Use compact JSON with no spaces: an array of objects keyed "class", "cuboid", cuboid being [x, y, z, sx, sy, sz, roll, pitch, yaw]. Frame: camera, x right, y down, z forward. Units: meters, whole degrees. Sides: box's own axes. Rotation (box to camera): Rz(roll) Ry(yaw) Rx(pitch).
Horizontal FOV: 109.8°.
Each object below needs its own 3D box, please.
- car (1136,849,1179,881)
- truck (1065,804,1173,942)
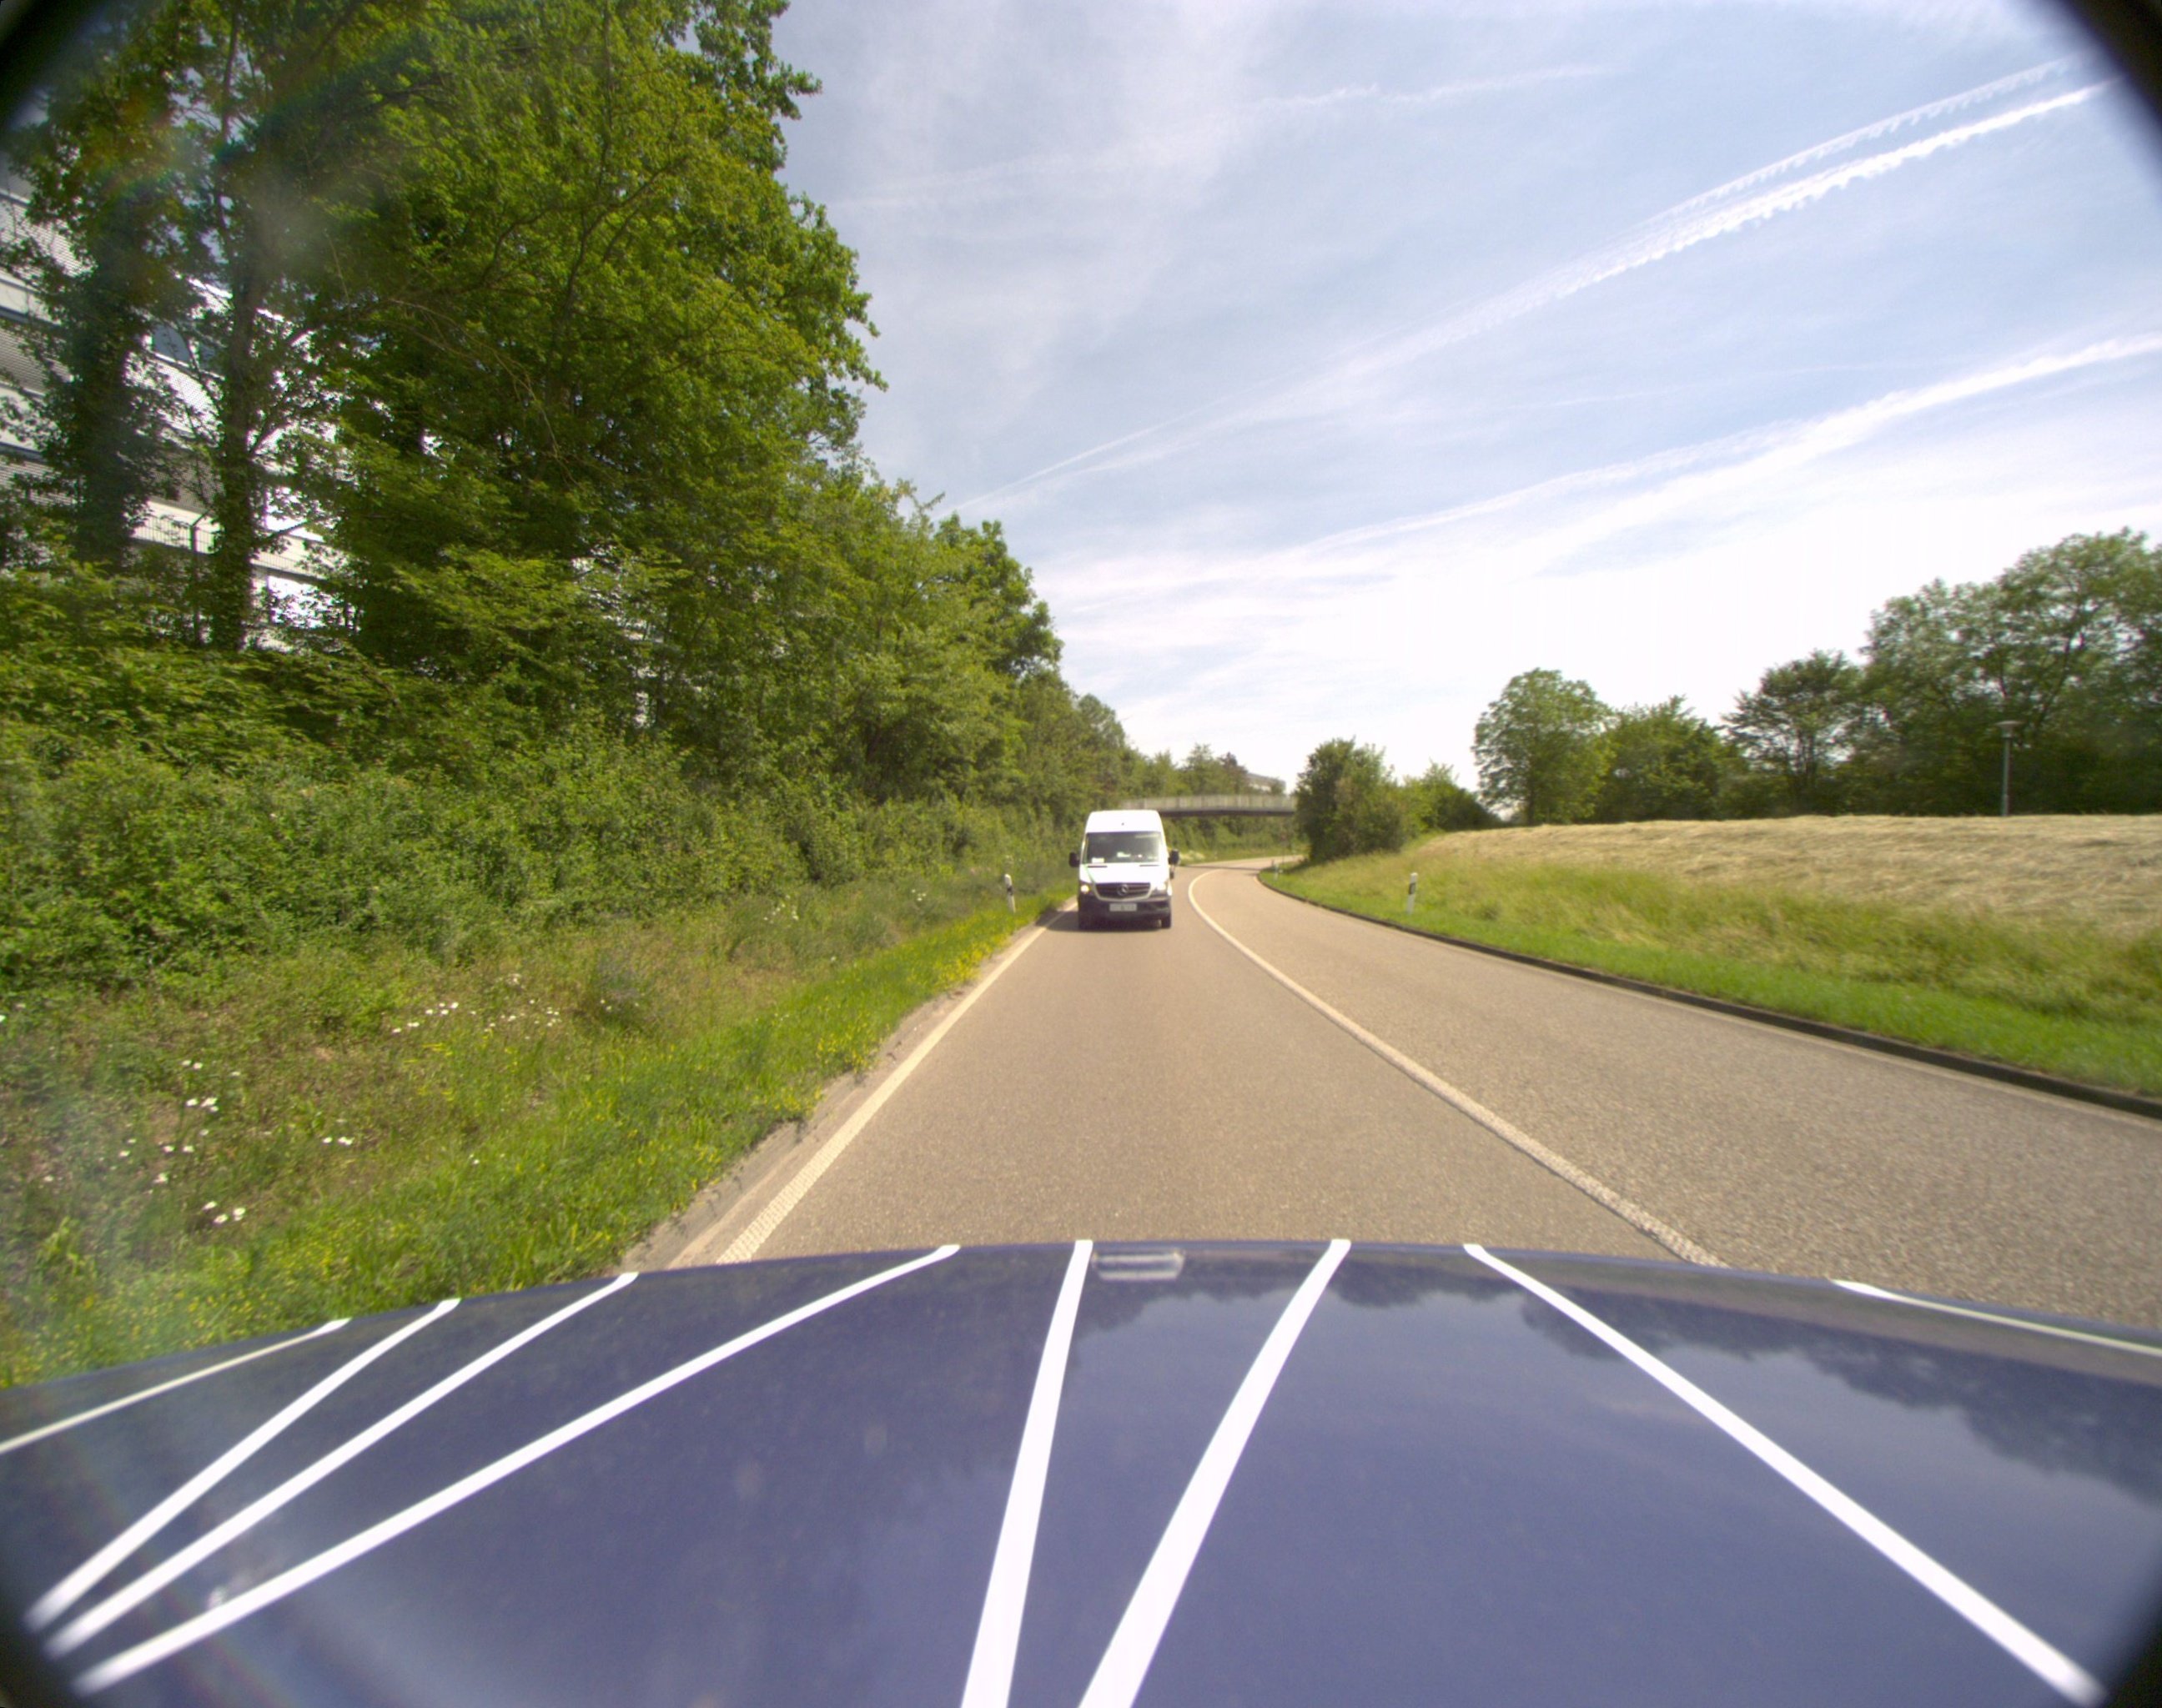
[{"class":"car","cuboid":[4.328,0.585,42.608,1.847,1.698,4.093,0,0,14]},{"class":"truck","cuboid":[1.034,0.357,17.191,1.997,2.571,5.890,-1,0,6]}]
